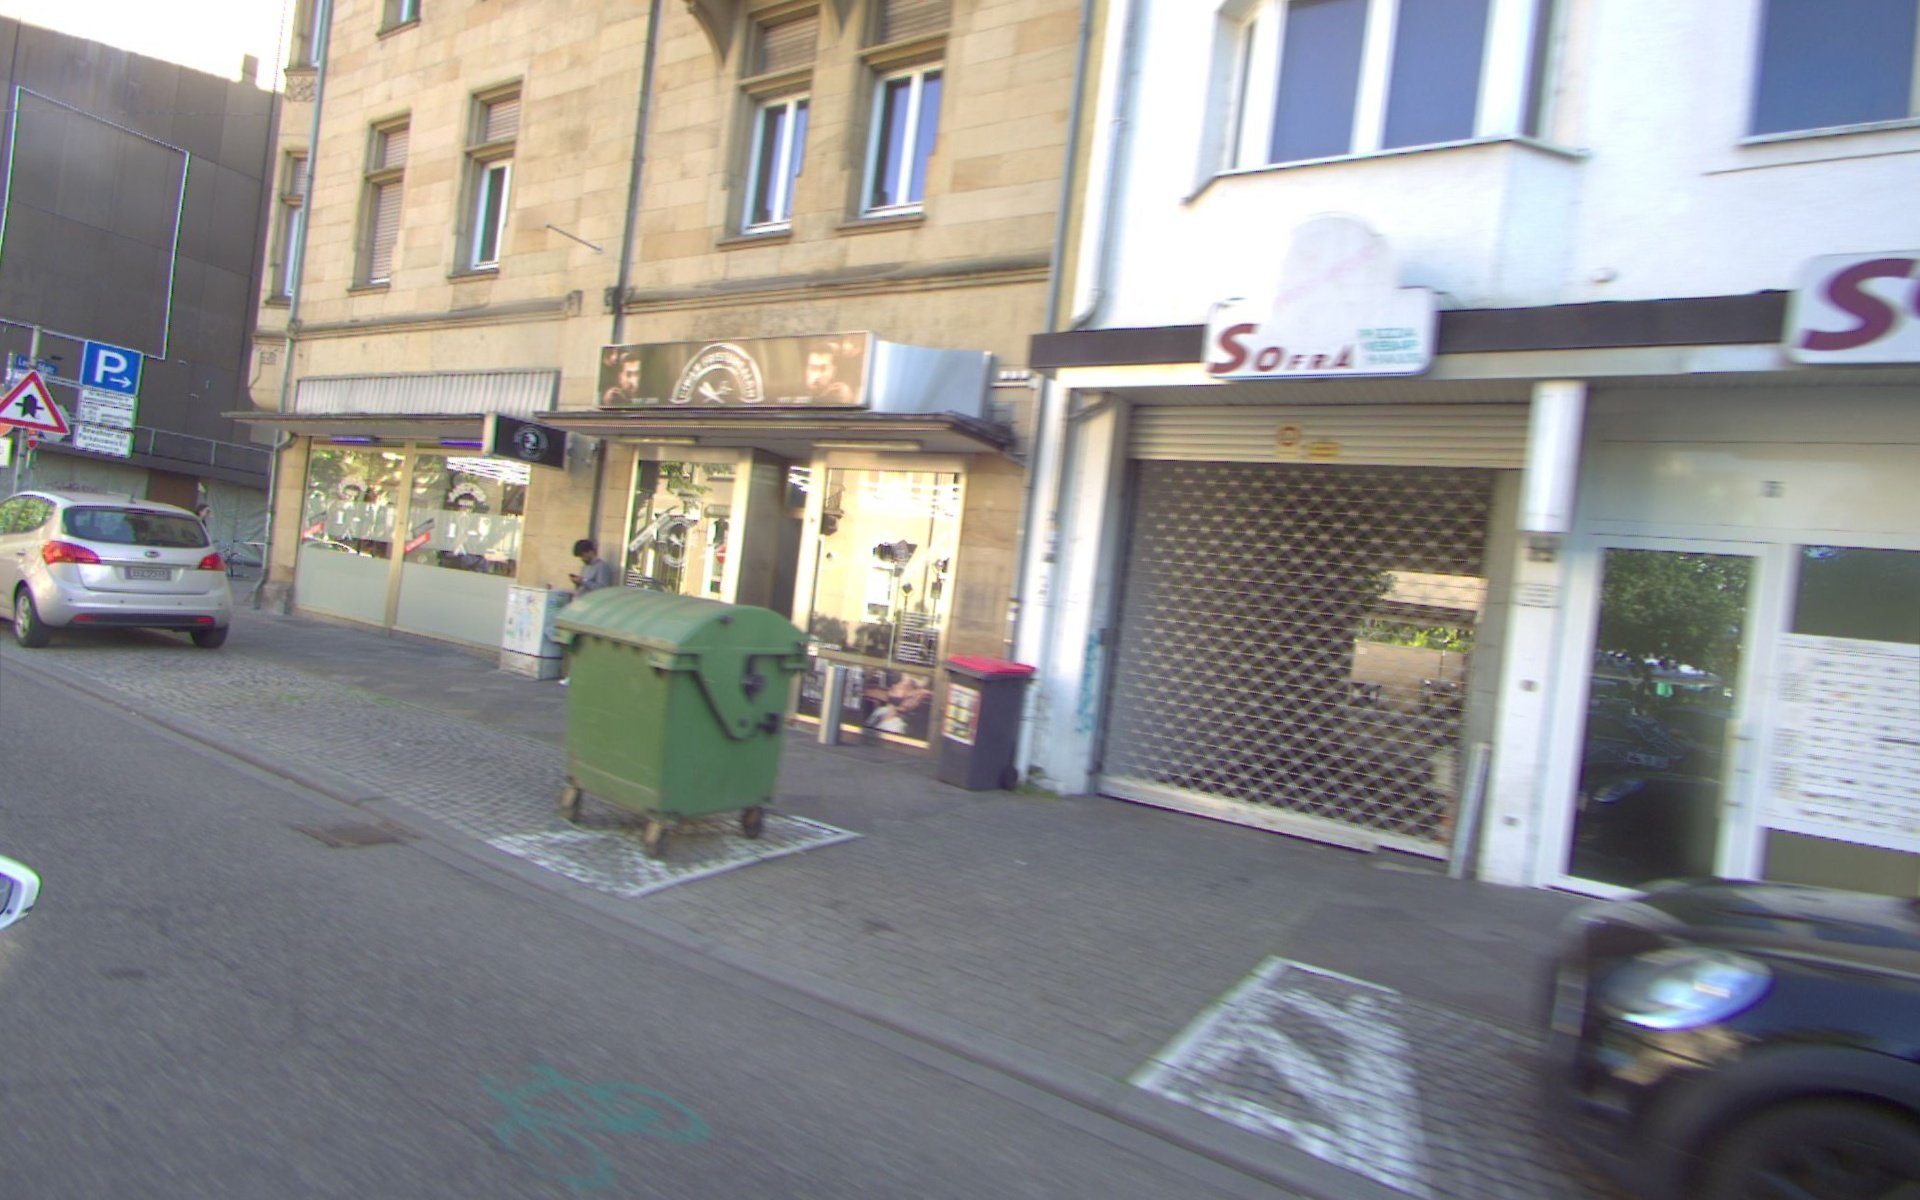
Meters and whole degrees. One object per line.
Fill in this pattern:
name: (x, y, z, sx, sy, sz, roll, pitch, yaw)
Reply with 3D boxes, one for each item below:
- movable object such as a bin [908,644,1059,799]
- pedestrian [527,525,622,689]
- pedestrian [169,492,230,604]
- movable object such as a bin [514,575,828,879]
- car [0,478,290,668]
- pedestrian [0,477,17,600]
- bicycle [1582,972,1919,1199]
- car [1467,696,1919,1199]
movable object such as a bin: (0.211, 1.005, 8.433, 0.815, 1.136, 0.878, 6, -3, 32)
pedestrian: (-4.464, 0.086, 11.657, 0.672, 1.811, 0.608, 6, 1, 31)
pedestrian: (-13.567, -0.912, 17.967, 0.642, 1.892, 0.621, 8, -2, -35)
movable object such as a bin: (-1.770, 0.683, 6.127, 1.470, 1.476, 1.072, 8, 3, 38)
car: (-10.088, -0.378, 11.705, 4.746, 1.693, 1.903, 5, -3, 32)
pedestrian: (-13.450, -0.811, 13.699, 0.506, 1.800, 0.610, 7, -2, -20)
bicycle: (2.307, 1.364, 1.207, 2.654, 0.969, 0.654, 5, -3, 32)
car: (3.489, 1.235, 2.512, 3.724, 1.464, 1.681, 5, -3, 33)
